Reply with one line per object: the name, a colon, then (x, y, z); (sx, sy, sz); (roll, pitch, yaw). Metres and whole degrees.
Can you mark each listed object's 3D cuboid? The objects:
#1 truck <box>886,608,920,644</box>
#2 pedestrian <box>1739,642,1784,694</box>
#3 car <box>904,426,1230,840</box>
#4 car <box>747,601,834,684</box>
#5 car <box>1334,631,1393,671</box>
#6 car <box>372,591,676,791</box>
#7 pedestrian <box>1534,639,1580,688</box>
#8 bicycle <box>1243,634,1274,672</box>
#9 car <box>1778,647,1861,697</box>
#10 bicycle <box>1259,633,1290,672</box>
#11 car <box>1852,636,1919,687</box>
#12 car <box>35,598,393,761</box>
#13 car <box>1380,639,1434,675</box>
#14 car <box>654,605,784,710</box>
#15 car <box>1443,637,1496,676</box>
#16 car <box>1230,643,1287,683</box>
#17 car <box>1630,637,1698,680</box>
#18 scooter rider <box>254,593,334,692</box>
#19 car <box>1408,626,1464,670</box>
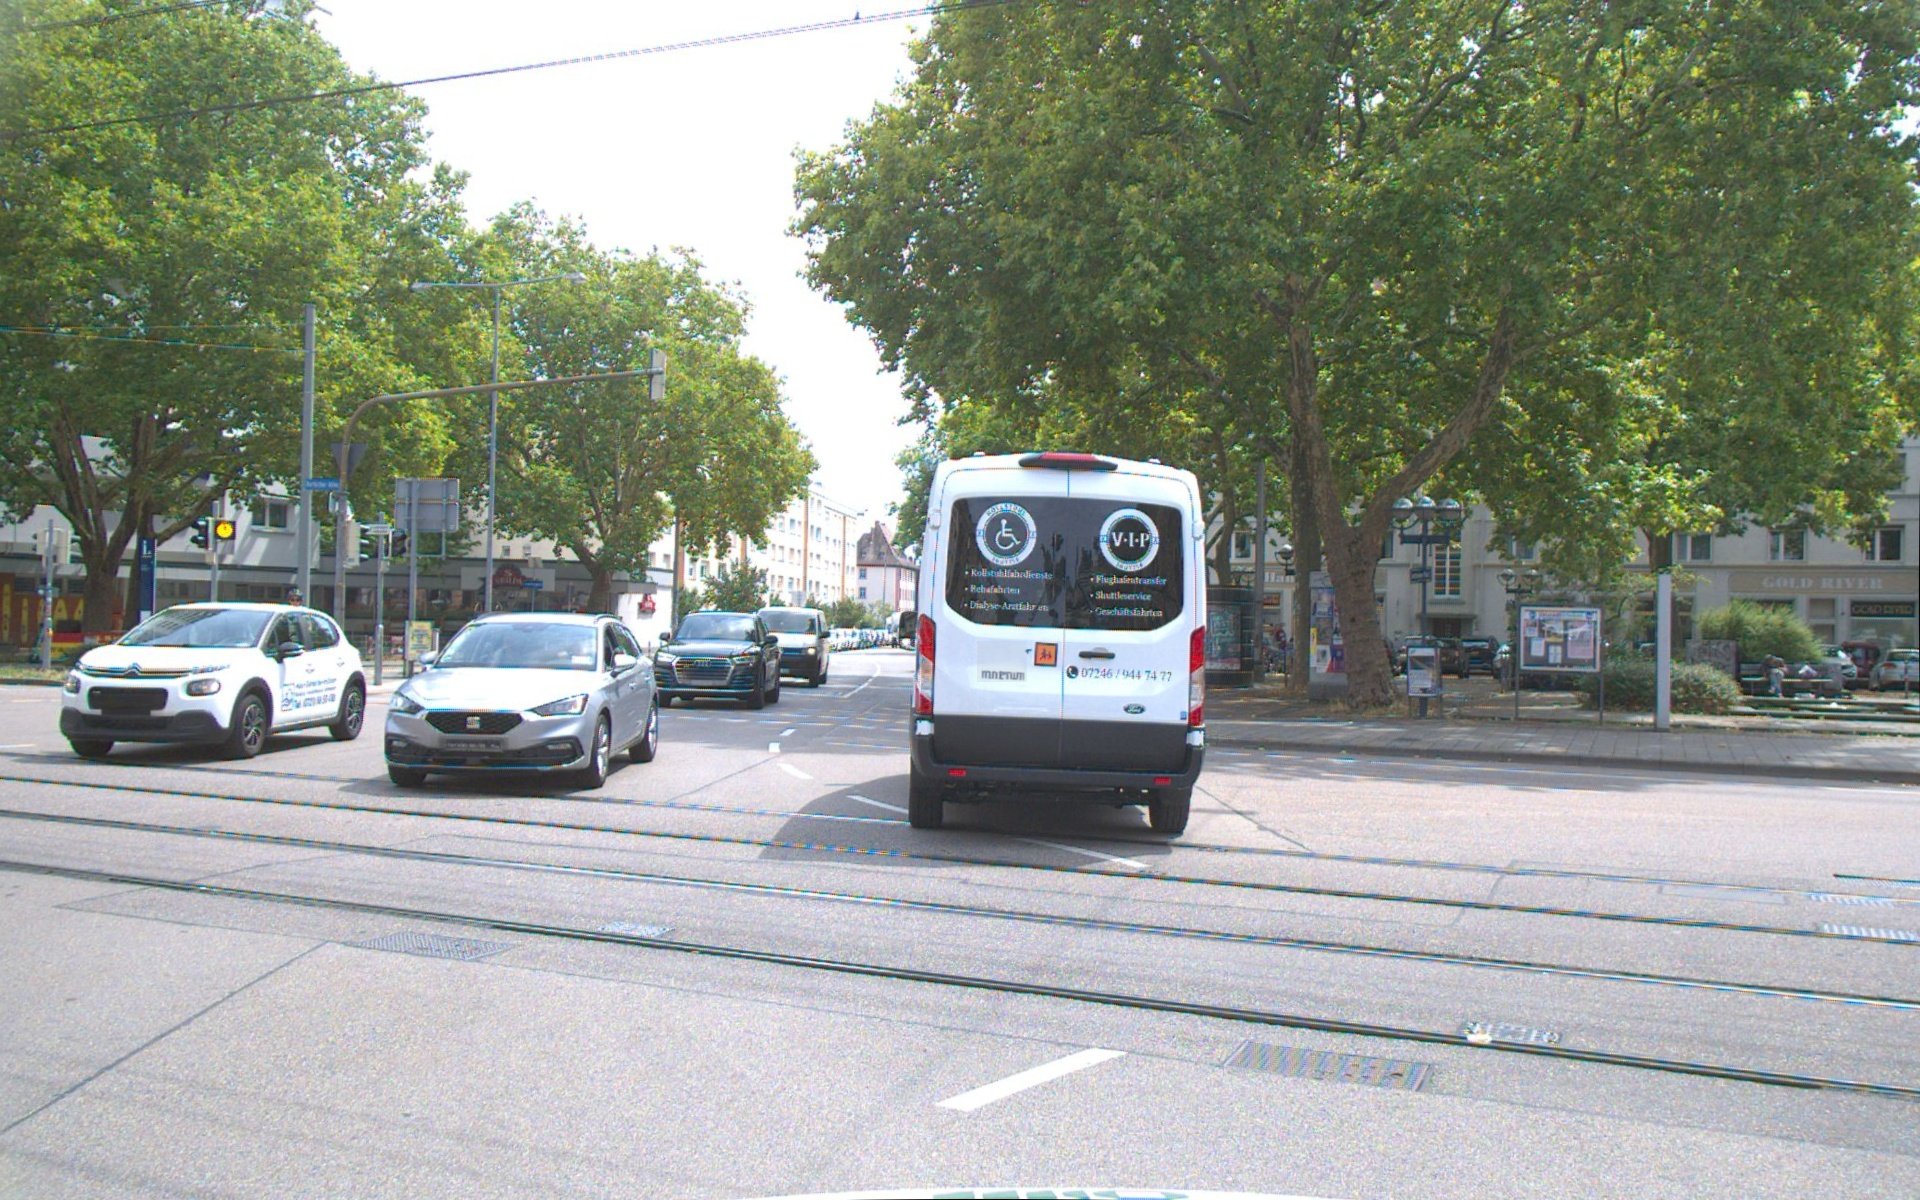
truck: (-5.195, 2.415, 151.862); (2.488, 3.162, 7.022); (-1, -1, 3)
pedestrian: (19.734, 1.673, 40.743); (0.867, 1.221, 1.124); (1, 0, 19)
car: (0.701, 0.287, 12.796); (2.028, 2.585, 4.634); (1, -2, 0)
car: (-4.351, 1.077, 43.081); (1.885, 1.970, 4.945); (2, -1, -2)
car: (15.789, 1.978, 64.551); (1.952, 1.490, 4.001); (0, -1, 18)
car: (-3.817, 0.738, 15.344); (1.728, 1.550, 4.844); (1, -1, -3)
pedestrian: (15.413, 1.629, 42.703); (1.073, 1.234, 1.140); (0, -2, 23)
bicycle: (11.207, 1.977, 62.067); (0.411, 1.402, 2.307); (0, -1, 29)
car: (30.453, 2.515, 58.710); (1.952, 1.646, 4.206); (0, -1, 18)
bicycle: (11.749, 1.962, 61.695); (0.411, 1.402, 2.307); (0, -2, 29)
car: (32.822, 2.141, 58.150); (1.952, 1.669, 4.001); (0, -1, 19)
car: (-7.507, 0.731, 17.150); (1.699, 1.456, 4.241); (1, 0, 1)
car: (20.183, 2.552, 74.591); (1.952, 1.514, 4.195); (1, -1, 20)
car: (-4.186, 0.968, 29.331); (1.786, 1.676, 4.425); (2, -1, -2)
car: (22.388, 2.440, 72.593); (1.952, 1.619, 4.195); (1, -1, 20)
car: (12.205, 2.550, 67.491); (1.789, 1.579, 4.001); (0, -1, 18)
car: (25.945, 2.126, 61.031); (1.952, 1.490, 4.001); (0, -1, 18)
scooter rider: (-9.666, 0.605, 24.050); (0.724, 1.400, 1.086); (1, 0, -2)
car: (18.429, 1.845, 63.986); (1.952, 1.627, 4.001); (0, -1, 18)
